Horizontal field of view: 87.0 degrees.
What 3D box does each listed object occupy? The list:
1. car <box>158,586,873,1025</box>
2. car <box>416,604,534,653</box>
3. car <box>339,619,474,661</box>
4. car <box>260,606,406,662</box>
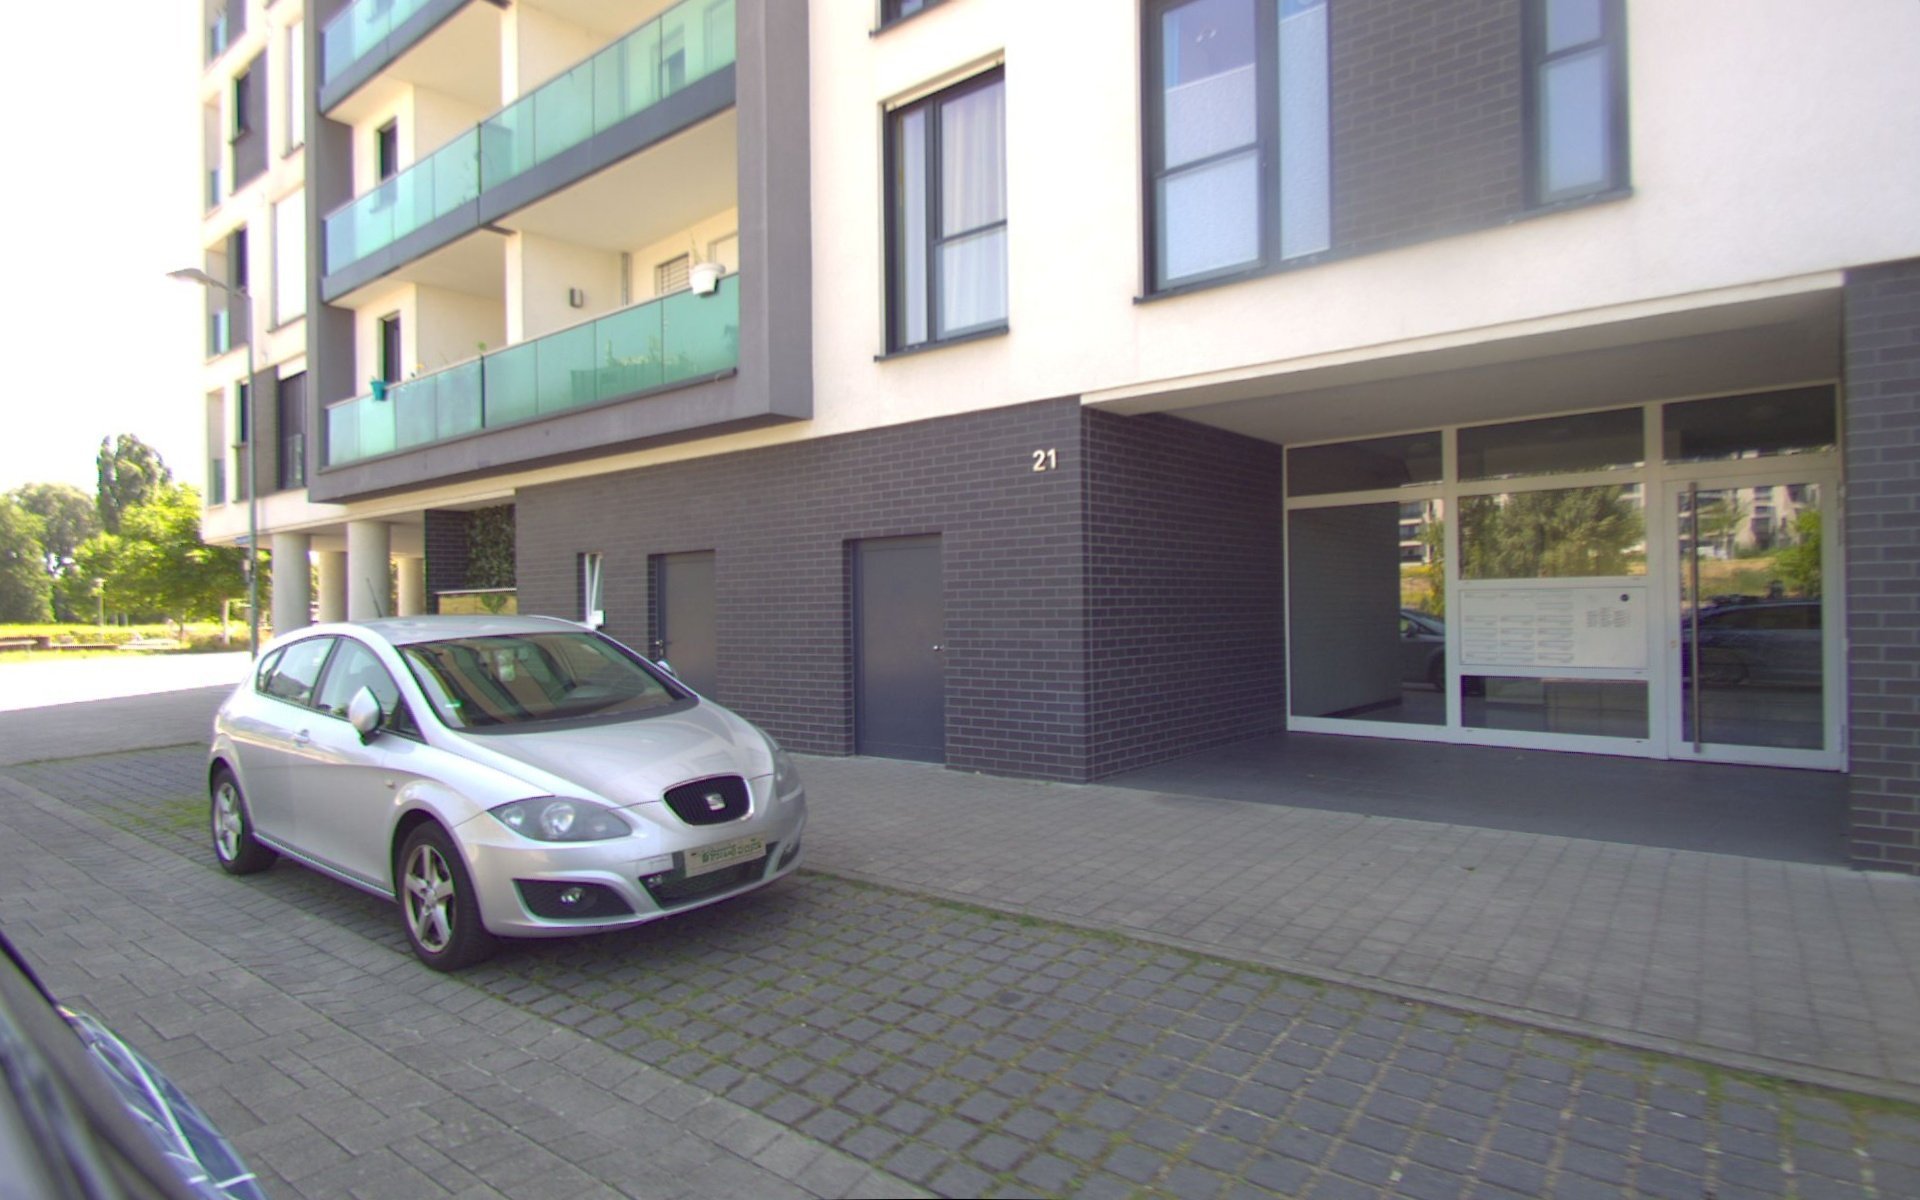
[{"bbox_3d":[-2.618,0.766,5.542,4.107,1.516,1.766,-2,1,37],"label":"car"},{"bbox_3d":[-19.218,1.108,40.268,2.067,1.796,3.977,-1,0,18],"label":"car"},{"bbox_3d":[-18.870,1.341,34.699,1.764,1.280,3.977,-1,0,18],"label":"car"},{"bbox_3d":[-21.604,1.140,35.047,1.983,1.796,3.977,-1,0,18],"label":"car"}]
